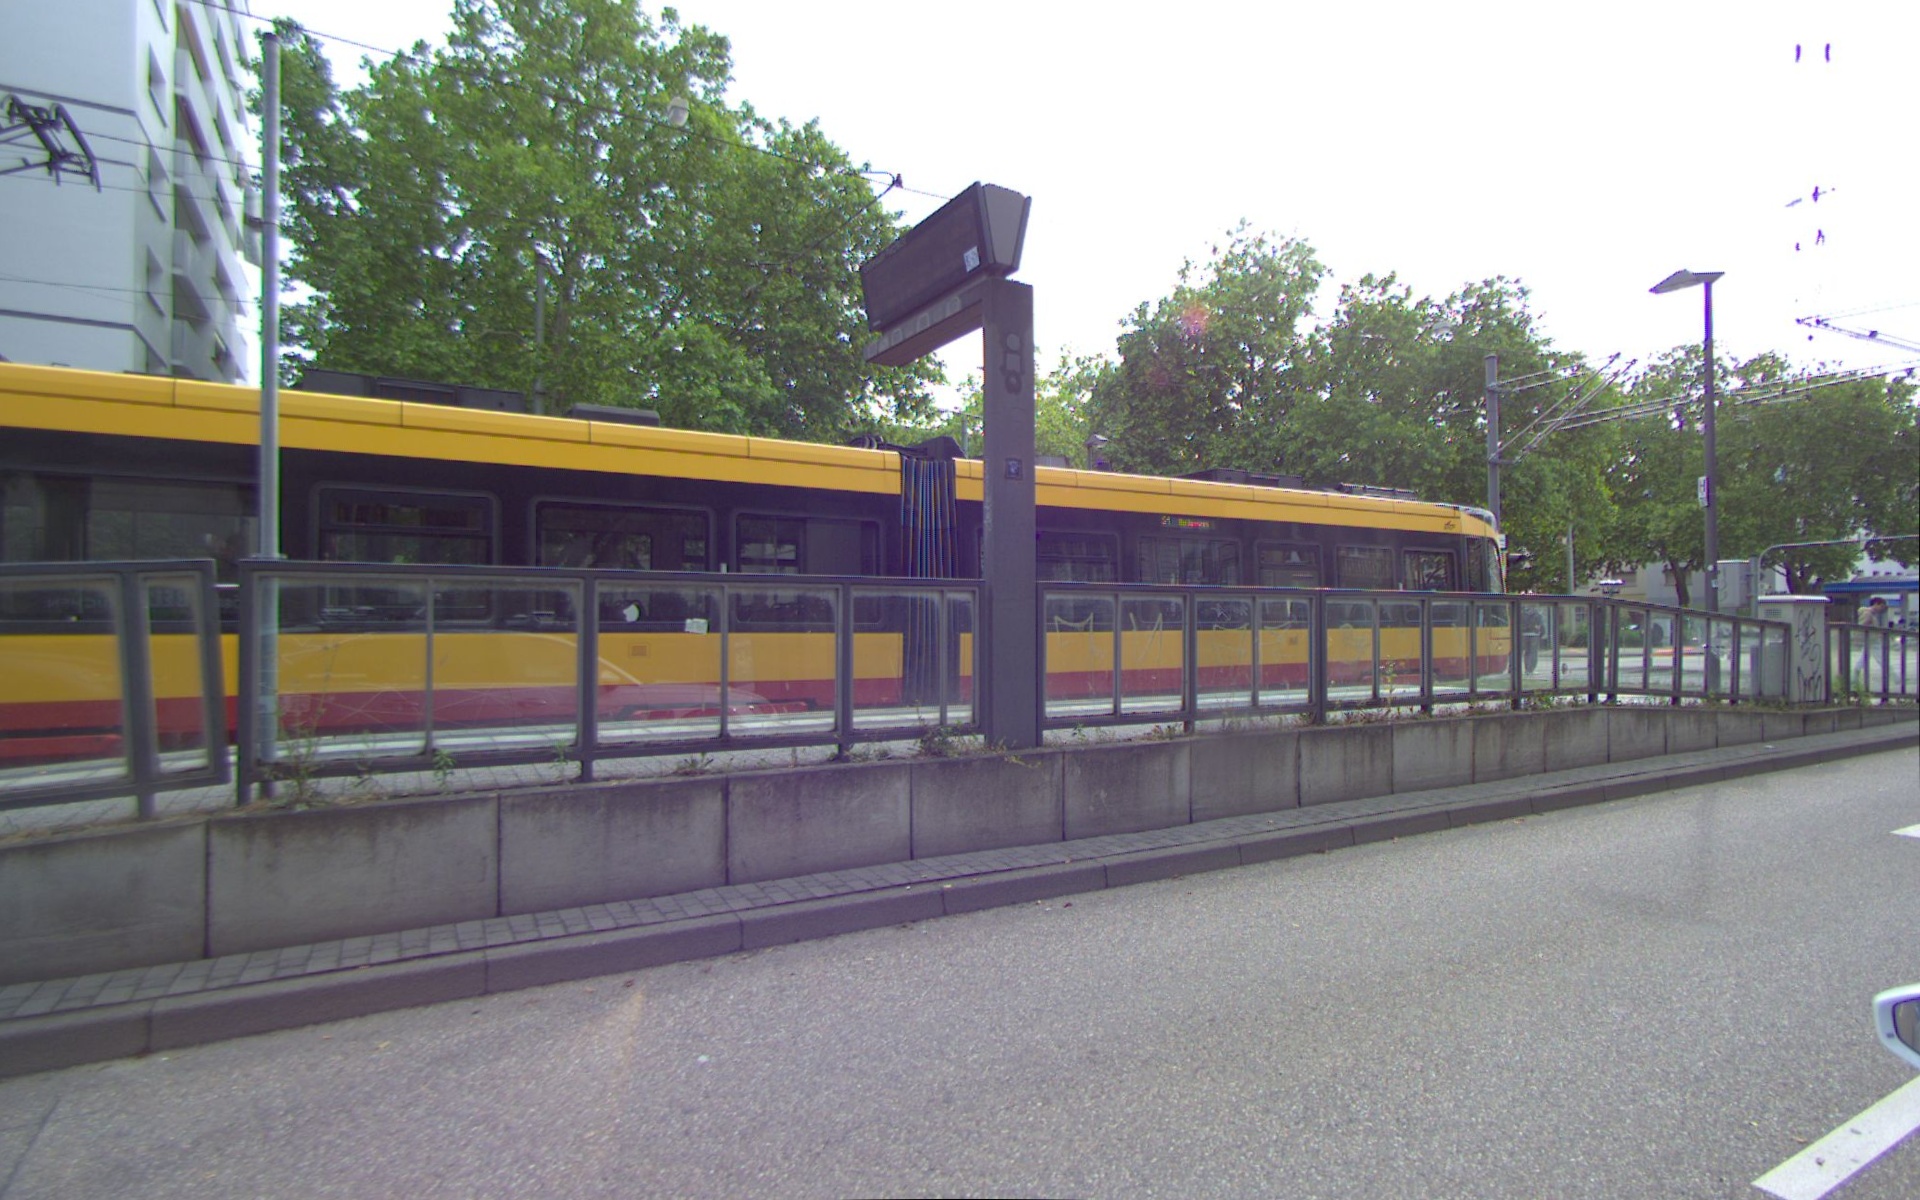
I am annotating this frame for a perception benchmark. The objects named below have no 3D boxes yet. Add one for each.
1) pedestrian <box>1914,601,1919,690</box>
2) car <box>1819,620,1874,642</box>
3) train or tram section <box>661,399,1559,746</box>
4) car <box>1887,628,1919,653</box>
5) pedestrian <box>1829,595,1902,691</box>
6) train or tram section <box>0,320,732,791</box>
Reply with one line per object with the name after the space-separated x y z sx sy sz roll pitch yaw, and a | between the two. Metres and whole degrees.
18.418 0.862 18.557 0.978 1.674 0.627 1 0 27 | pedestrian
66.472 2.326 75.344 3.953 1.550 1.984 1 0 -31 | car
3.579 -0.177 15.875 15.664 3.636 3.045 1 0 -31 | train or tram section
53.231 2.227 55.674 3.953 1.343 1.626 1 0 -31 | car
17.900 0.826 19.881 0.999 1.837 0.582 1 0 37 | pedestrian
-9.655 -0.365 7.985 15.117 3.579 3.045 1 0 -31 | train or tram section
